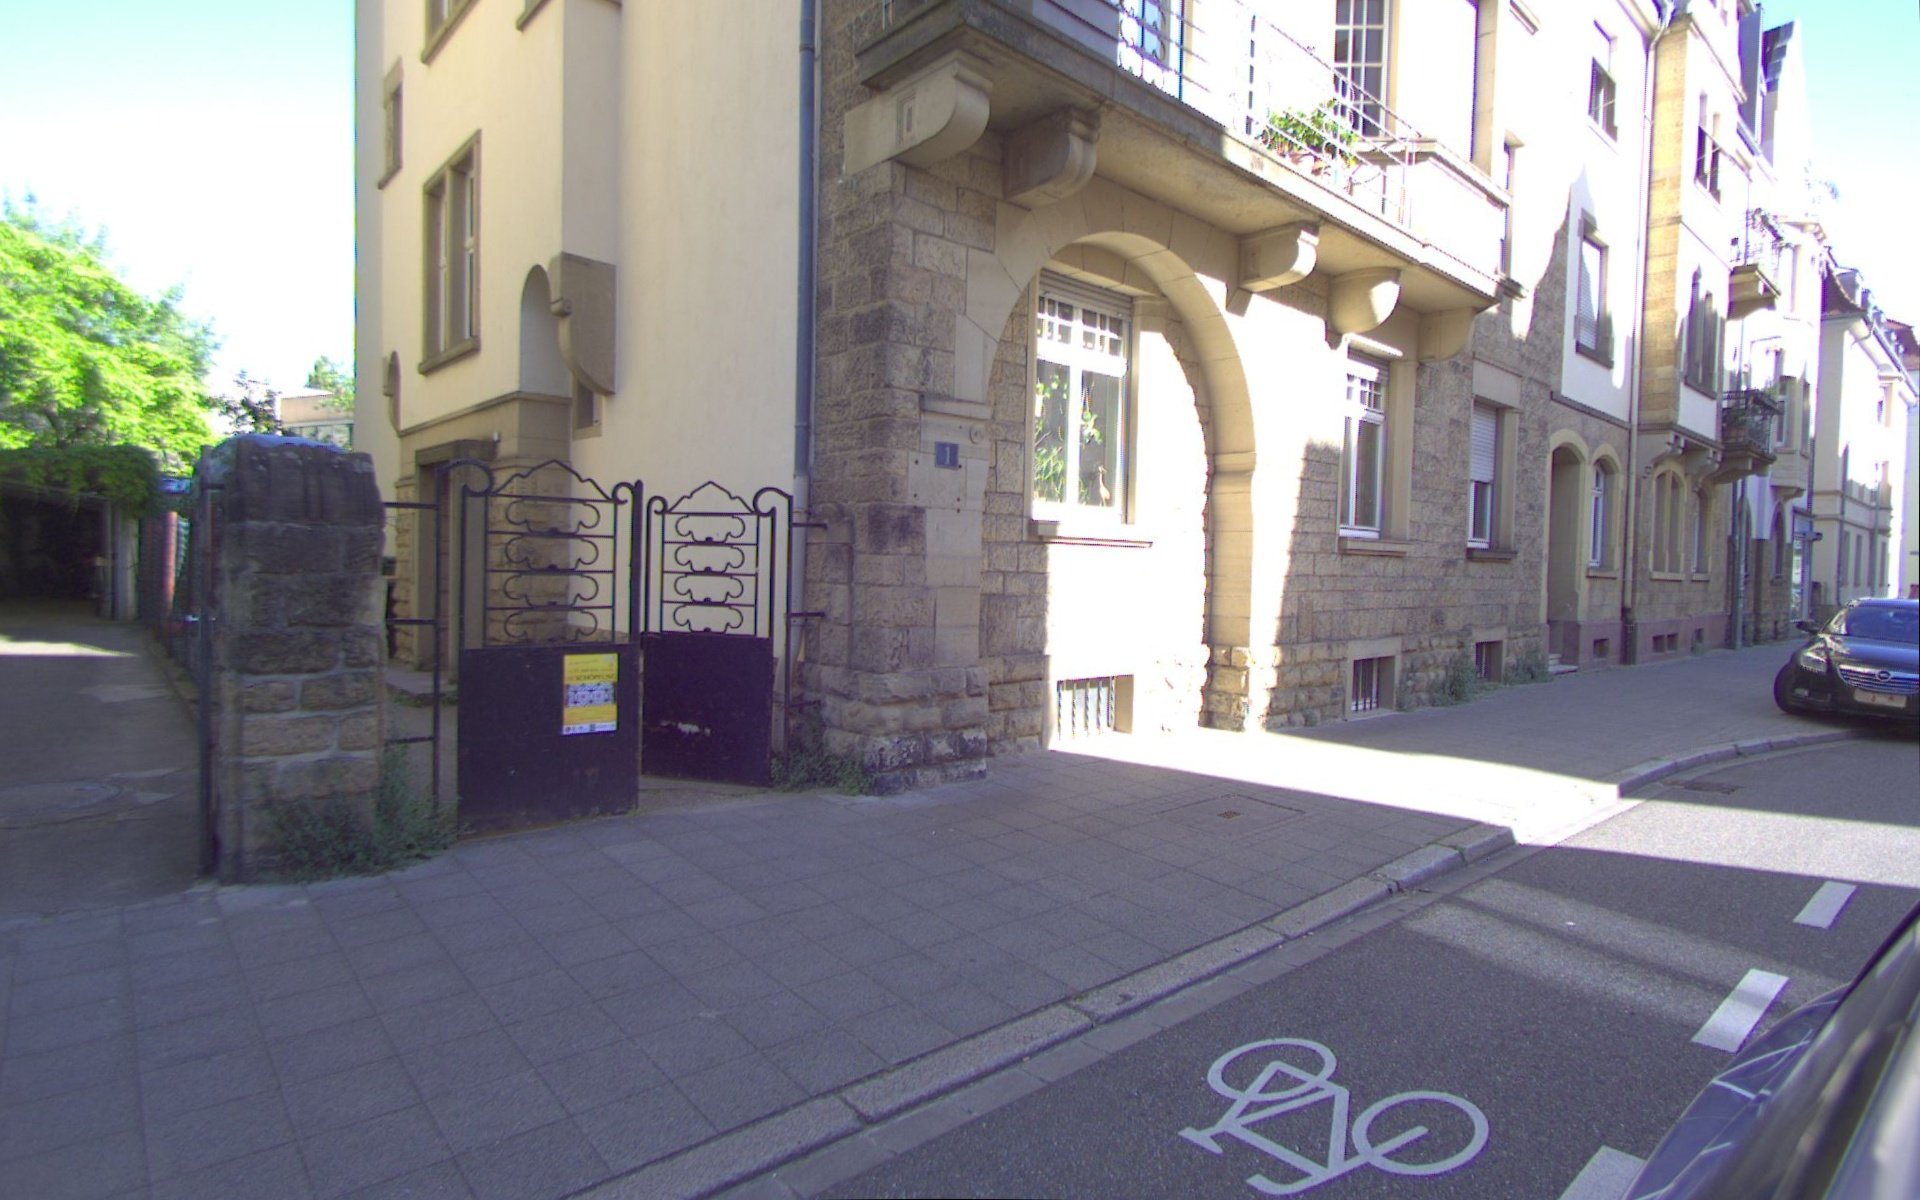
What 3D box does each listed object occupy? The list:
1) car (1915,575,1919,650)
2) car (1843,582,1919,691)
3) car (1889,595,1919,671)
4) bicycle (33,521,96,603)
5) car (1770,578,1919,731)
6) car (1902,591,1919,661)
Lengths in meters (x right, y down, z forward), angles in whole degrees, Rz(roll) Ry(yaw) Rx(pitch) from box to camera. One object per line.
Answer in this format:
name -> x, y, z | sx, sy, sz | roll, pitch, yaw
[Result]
car -> 26.182, 0.334, 26.009 | 4.247, 1.860, 2.004 | -1, 4, -42
car -> 15.530, 0.564, 15.871 | 4.247, 1.527, 2.004 | 0, 3, -42
car -> 18.793, 0.617, 18.976 | 3.667, 1.295, 1.659 | -1, 4, -42
bicycle -> -18.303, -0.813, 20.728 | 0.903, 1.530, 2.672 | 0, 4, -41
car -> 11.486, 0.568, 12.174 | 4.043, 1.526, 2.023 | -1, 5, -42
car -> 22.170, 0.579, 22.197 | 4.247, 1.440, 1.823 | -1, 4, -42
